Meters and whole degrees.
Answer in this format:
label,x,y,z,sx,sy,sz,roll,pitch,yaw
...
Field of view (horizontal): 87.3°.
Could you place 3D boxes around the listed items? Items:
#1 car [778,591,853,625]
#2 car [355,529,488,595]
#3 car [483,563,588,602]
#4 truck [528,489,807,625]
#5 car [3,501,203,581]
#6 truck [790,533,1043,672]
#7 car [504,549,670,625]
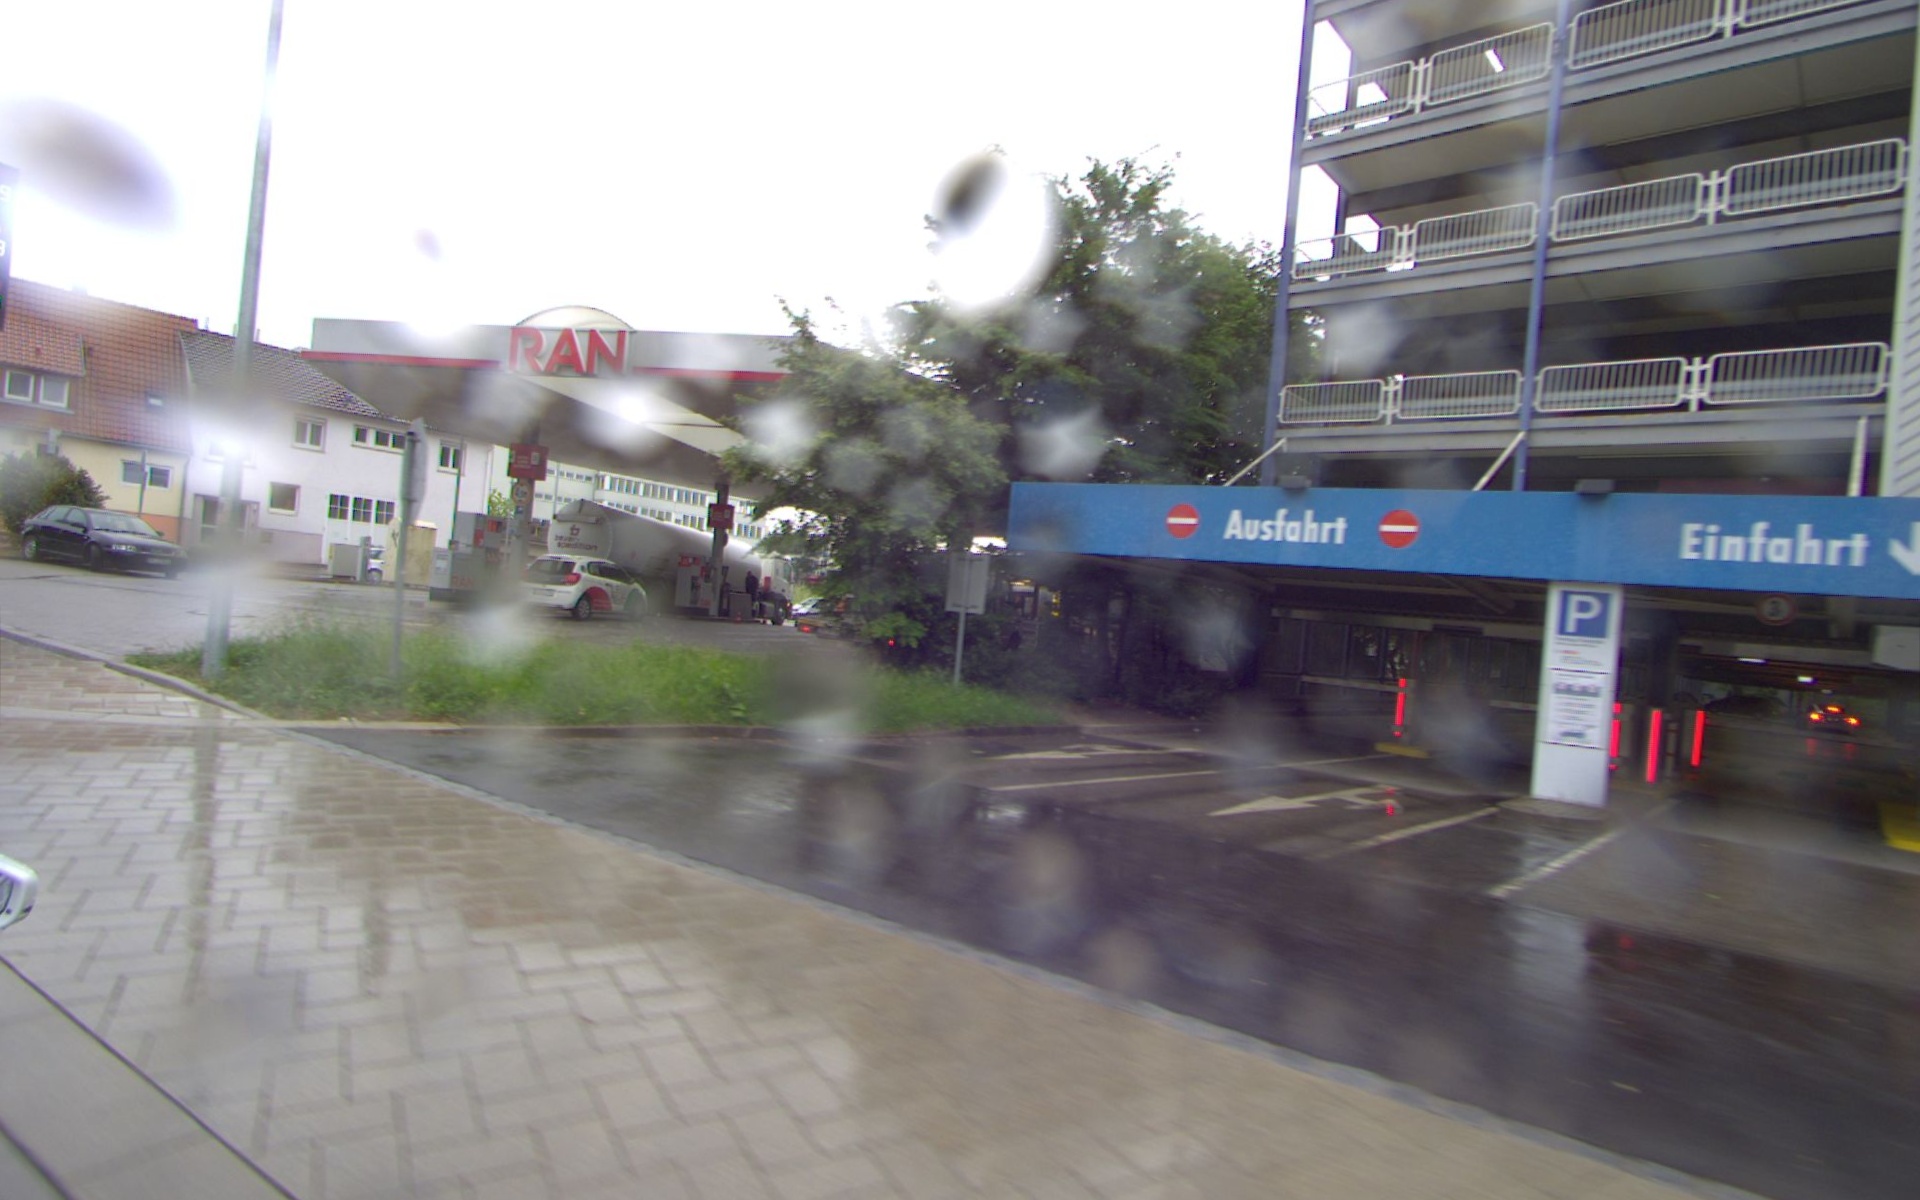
label,x,y,z,sx,sy,sz,roll,pitch,yaw
car,-9.039,0.526,63.172,1.974,1.609,4.171,9,1,45
car,-21.011,-1.459,39.378,1.969,2.038,3.988,6,0,35
car,-20.792,-0.844,49.426,1.971,1.394,4.240,7,1,40
truck,-10.005,-1.162,37.577,2.597,3.399,14.424,9,-1,15
car,-20.166,-1.386,23.672,4.260,1.356,1.694,6,0,21
truck,-0.579,0.133,21.578,2.048,2.235,7.289,9,2,25
car,-8.890,-0.244,24.367,1.742,1.445,4.002,6,-1,13
